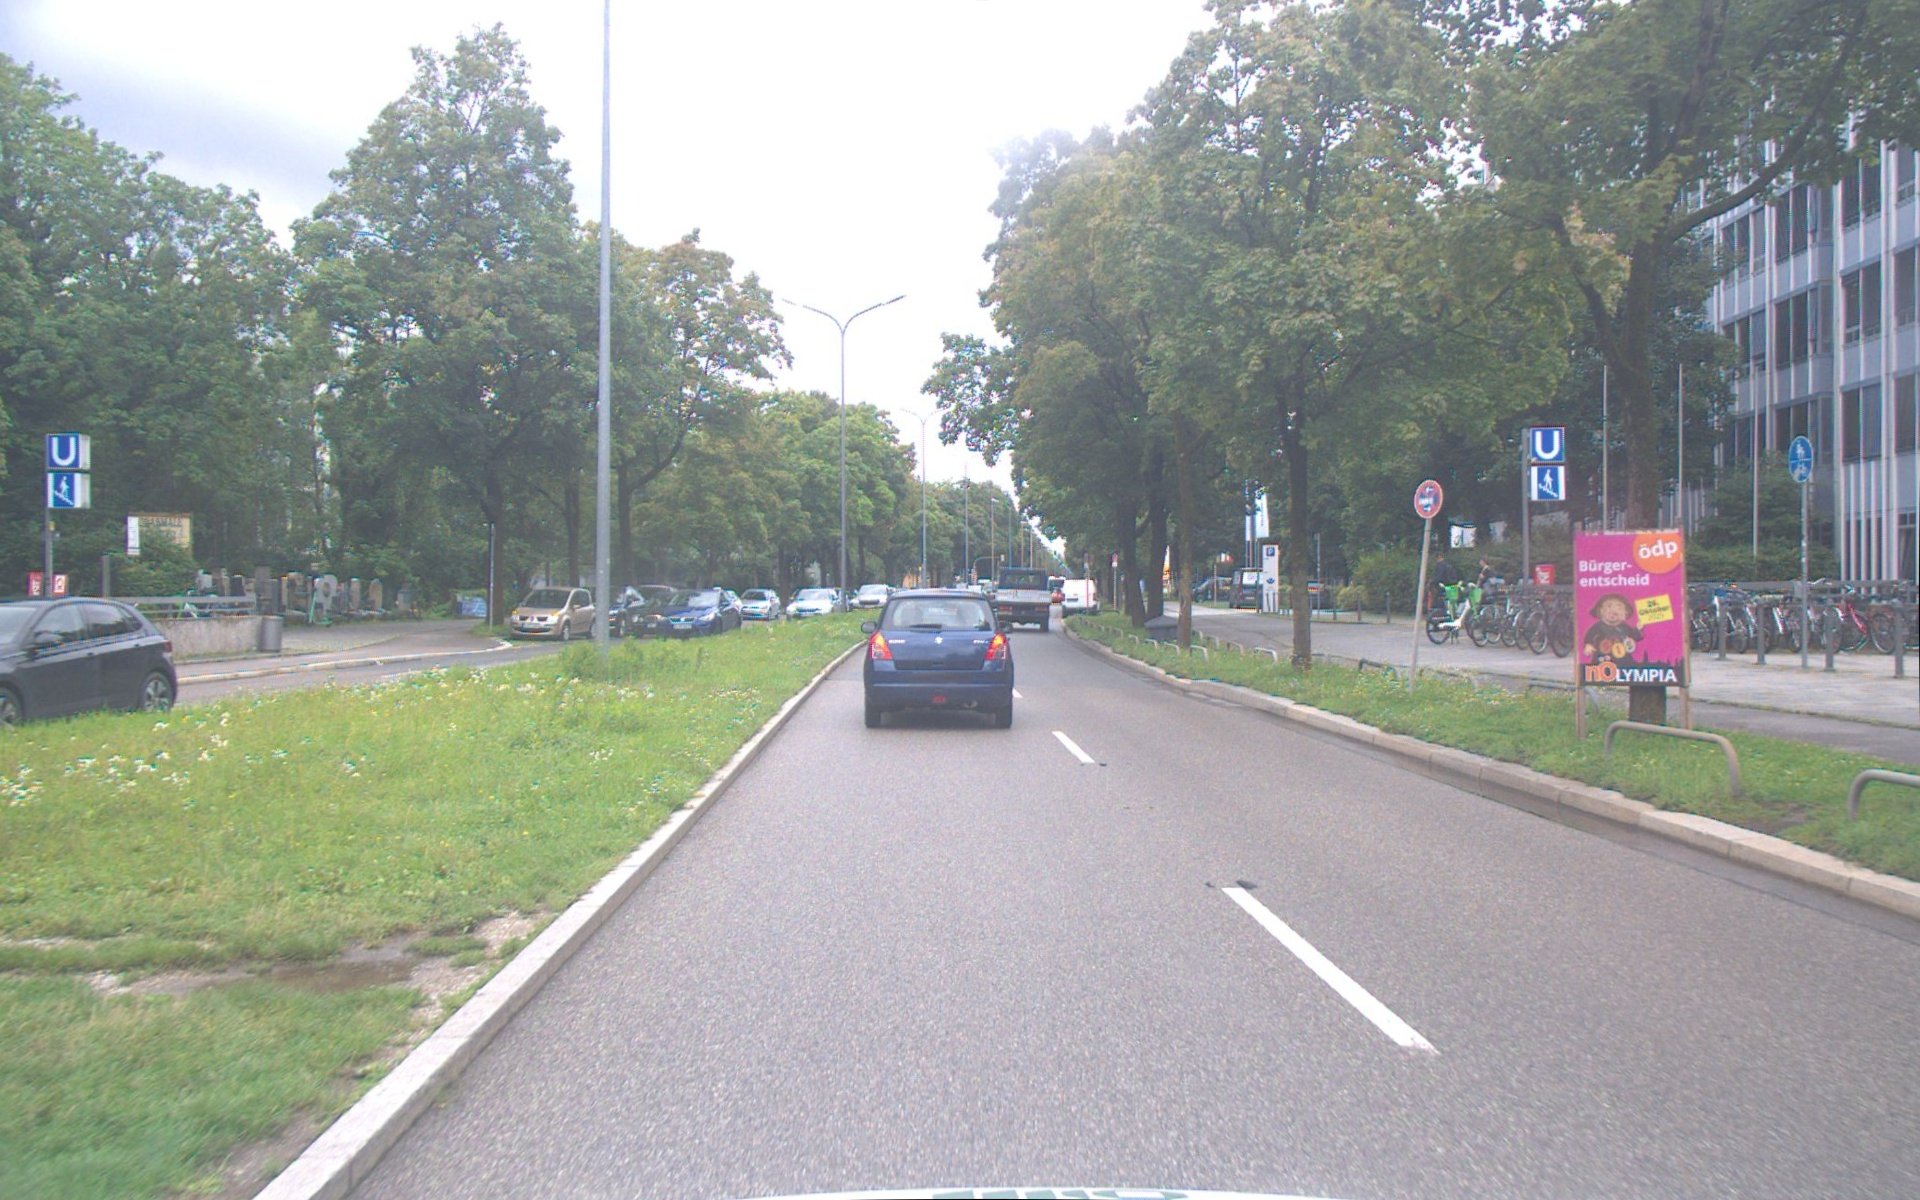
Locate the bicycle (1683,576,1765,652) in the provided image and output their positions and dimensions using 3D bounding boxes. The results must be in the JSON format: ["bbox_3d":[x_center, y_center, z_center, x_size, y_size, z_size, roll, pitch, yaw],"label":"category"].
[{"bbox_3d":[12.645,0.211,27.433,0.477,1.210,1.954,-1,0,1],"label":"bicycle"}]

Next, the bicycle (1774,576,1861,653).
[{"bbox_3d":[14.070,0.216,27.175,0.436,1.210,1.954,-1,0,1],"label":"bicycle"}]

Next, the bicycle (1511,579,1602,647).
[{"bbox_3d":[10.819,0.227,29.981,2.023,1.108,0.596,-3,-1,-41],"label":"bicycle"}]

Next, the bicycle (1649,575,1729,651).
[{"bbox_3d":[12.075,0.198,27.450,0.477,1.210,1.954,-1,0,1],"label":"bicycle"}]

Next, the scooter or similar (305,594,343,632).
[{"bbox_3d":[-19.979,0.395,51.964,0.426,1.146,1.290,-1,0,17],"label":"scooter or similar"}]

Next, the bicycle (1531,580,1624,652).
[{"bbox_3d":[10.603,0.262,28.357,2.015,1.118,0.571,-3,0,-42],"label":"bicycle"}]

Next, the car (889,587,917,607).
[{"bbox_3d":[-4.873,-0.244,141.845,1.793,1.637,4.494,2,1,5],"label":"car"}]

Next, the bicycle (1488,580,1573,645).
[{"bbox_3d":[10.680,0.220,30.949,1.937,1.084,0.572,-4,1,-41],"label":"bicycle"}]

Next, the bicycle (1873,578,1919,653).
[{"bbox_3d":[15.923,0.251,27.091,0.566,1.210,2.139,-1,0,-6],"label":"bicycle"}]

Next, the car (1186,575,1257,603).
[{"bbox_3d":[20.525,-0.868,130.018,5.355,2.120,2.148,0,0,3],"label":"car"}]

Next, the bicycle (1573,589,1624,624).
[{"bbox_3d":[17.459,0.170,45.276,0.668,0.868,1.834,-1,2,0],"label":"bicycle"}]

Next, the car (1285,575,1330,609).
[{"bbox_3d":[19.787,-0.463,94.355,1.803,1.850,4.473,-1,0,3],"label":"car"}]

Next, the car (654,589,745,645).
[{"bbox_3d":[-7.124,0.433,45.579,1.656,1.426,3.969,-1,0,3],"label":"car"}]

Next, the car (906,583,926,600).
[{"bbox_3d":[-4.095,-0.803,154.852,1.655,1.593,3.081,-1,0,2],"label":"car"}]

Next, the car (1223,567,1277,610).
[{"bbox_3d":[16.450,-0.668,94.015,2.217,2.347,6.270,-1,0,3],"label":"car"}]

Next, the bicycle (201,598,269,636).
[{"bbox_3d":[-20.428,0.478,46.591,1.725,1.024,0.437,-1,0,4],"label":"bicycle"}]

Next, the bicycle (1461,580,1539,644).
[{"bbox_3d":[10.947,0.224,33.493,1.938,1.127,0.572,-6,4,-41],"label":"bicycle"}]

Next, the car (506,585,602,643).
[{"bbox_3d":[-12.220,0.398,49.987,1.612,1.642,3.822,1,1,6],"label":"car"}]

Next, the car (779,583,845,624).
[{"bbox_3d":[-5.809,0.102,65.329,1.875,1.510,4.867,-1,0,3],"label":"car"}]

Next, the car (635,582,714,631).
[{"bbox_3d":[-9.177,0.187,53.424,1.656,1.510,3.969,-1,0,3],"label":"car"}]

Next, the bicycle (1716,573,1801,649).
[{"bbox_3d":[13.239,0.167,27.478,0.477,1.210,1.954,-1,0,1],"label":"bicycle"}]

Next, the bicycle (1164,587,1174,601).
[{"bbox_3d":[17.764,-0.500,140.581,0.732,1.203,2.248,0,0,4],"label":"bicycle"}]

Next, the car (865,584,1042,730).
[{"bbox_3d":[-0.024,0.587,19.326,1.857,1.525,3.661,0,0,1],"label":"car"}]

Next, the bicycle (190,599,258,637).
[{"bbox_3d":[-20.464,0.502,45.999,1.725,1.024,0.437,-1,0,4],"label":"bicycle"}]

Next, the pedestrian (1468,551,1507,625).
[{"bbox_3d":[12.616,-0.283,39.542,0.767,1.744,0.750,-1,0,26],"label":"pedestrian"}]

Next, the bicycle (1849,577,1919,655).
[{"bbox_3d":[15.283,0.244,26.700,0.501,1.210,2.139,-1,0,-6],"label":"bicycle"}]

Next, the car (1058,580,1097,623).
[{"bbox_3d":[6.209,0.056,87.161,1.945,2.195,5.559,-1,0,5],"label":"car"}]

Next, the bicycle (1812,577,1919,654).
[{"bbox_3d":[14.736,0.231,26.899,0.437,1.210,2.139,-1,0,-6],"label":"bicycle"}]

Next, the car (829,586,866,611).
[{"bbox_3d":[-7.433,-0.107,109.683,1.680,1.551,5.037,2,1,4],"label":"car"}]

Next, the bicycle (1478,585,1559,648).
[{"bbox_3d":[10.949,0.310,32.385,1.937,1.102,0.588,-4,3,-41],"label":"bicycle"}]

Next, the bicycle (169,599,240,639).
[{"bbox_3d":[-20.320,0.510,44.488,1.725,1.024,0.437,-1,0,4],"label":"bicycle"}]

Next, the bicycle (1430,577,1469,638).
[{"bbox_3d":[10.959,0.146,37.034,0.519,1.248,1.863,-3,2,8],"label":"bicycle"}]

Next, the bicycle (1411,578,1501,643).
[{"bbox_3d":[10.251,0.207,34.160,1.928,1.209,0.591,-4,2,-30],"label":"bicycle"}]

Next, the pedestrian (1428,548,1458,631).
[{"bbox_3d":[11.430,-0.252,39.133,0.637,1.932,0.749,-1,0,19],"label":"pedestrian"}]

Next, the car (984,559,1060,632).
[{"bbox_3d":[2.304,-0.179,59.755,2.367,2.487,5.090,1,0,6],"label":"car"}]

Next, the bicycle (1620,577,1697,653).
[{"bbox_3d":[11.566,0.237,27.441,0.477,1.210,1.954,-1,0,1],"label":"bicycle"}]

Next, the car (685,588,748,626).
[{"bbox_3d":[-10.453,0.274,71.346,1.702,1.556,4.478,1,1,5],"label":"car"}]

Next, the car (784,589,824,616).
[{"bbox_3d":[-8.914,0.138,94.857,1.547,1.448,4.365,2,1,4],"label":"car"}]

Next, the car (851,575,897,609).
[{"bbox_3d":[-4.323,-0.426,83.691,1.729,1.653,4.379,-1,0,4],"label":"car"}]

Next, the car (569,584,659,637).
[{"bbox_3d":[-11.605,0.327,55.747,1.702,1.672,4.687,1,1,5],"label":"car"}]

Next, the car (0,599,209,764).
[{"bbox_3d":[-9.313,0.736,16.347,1.745,1.430,4.103,-1,0,2],"label":"car"}]

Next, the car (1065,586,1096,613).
[{"bbox_3d":[6.836,-0.040,93.379,1.666,1.422,4.235,-1,0,5],"label":"car"}]

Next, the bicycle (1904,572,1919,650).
[{"bbox_3d":[16.659,0.193,27.304,0.498,1.317,2.475,-1,0,-6],"label":"bicycle"}]

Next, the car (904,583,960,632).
[{"bbox_3d":[-0.959,0.229,54.579,1.763,1.525,3.659,-1,0,-2],"label":"car"}]

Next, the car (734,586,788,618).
[{"bbox_3d":[-9.757,0.063,81.314,1.700,1.473,4.825,2,1,4],"label":"car"}]

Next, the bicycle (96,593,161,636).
[{"bbox_3d":[-22.074,0.372,43.942,0.566,1.118,2.033,-1,1,5],"label":"bicycle"}]
